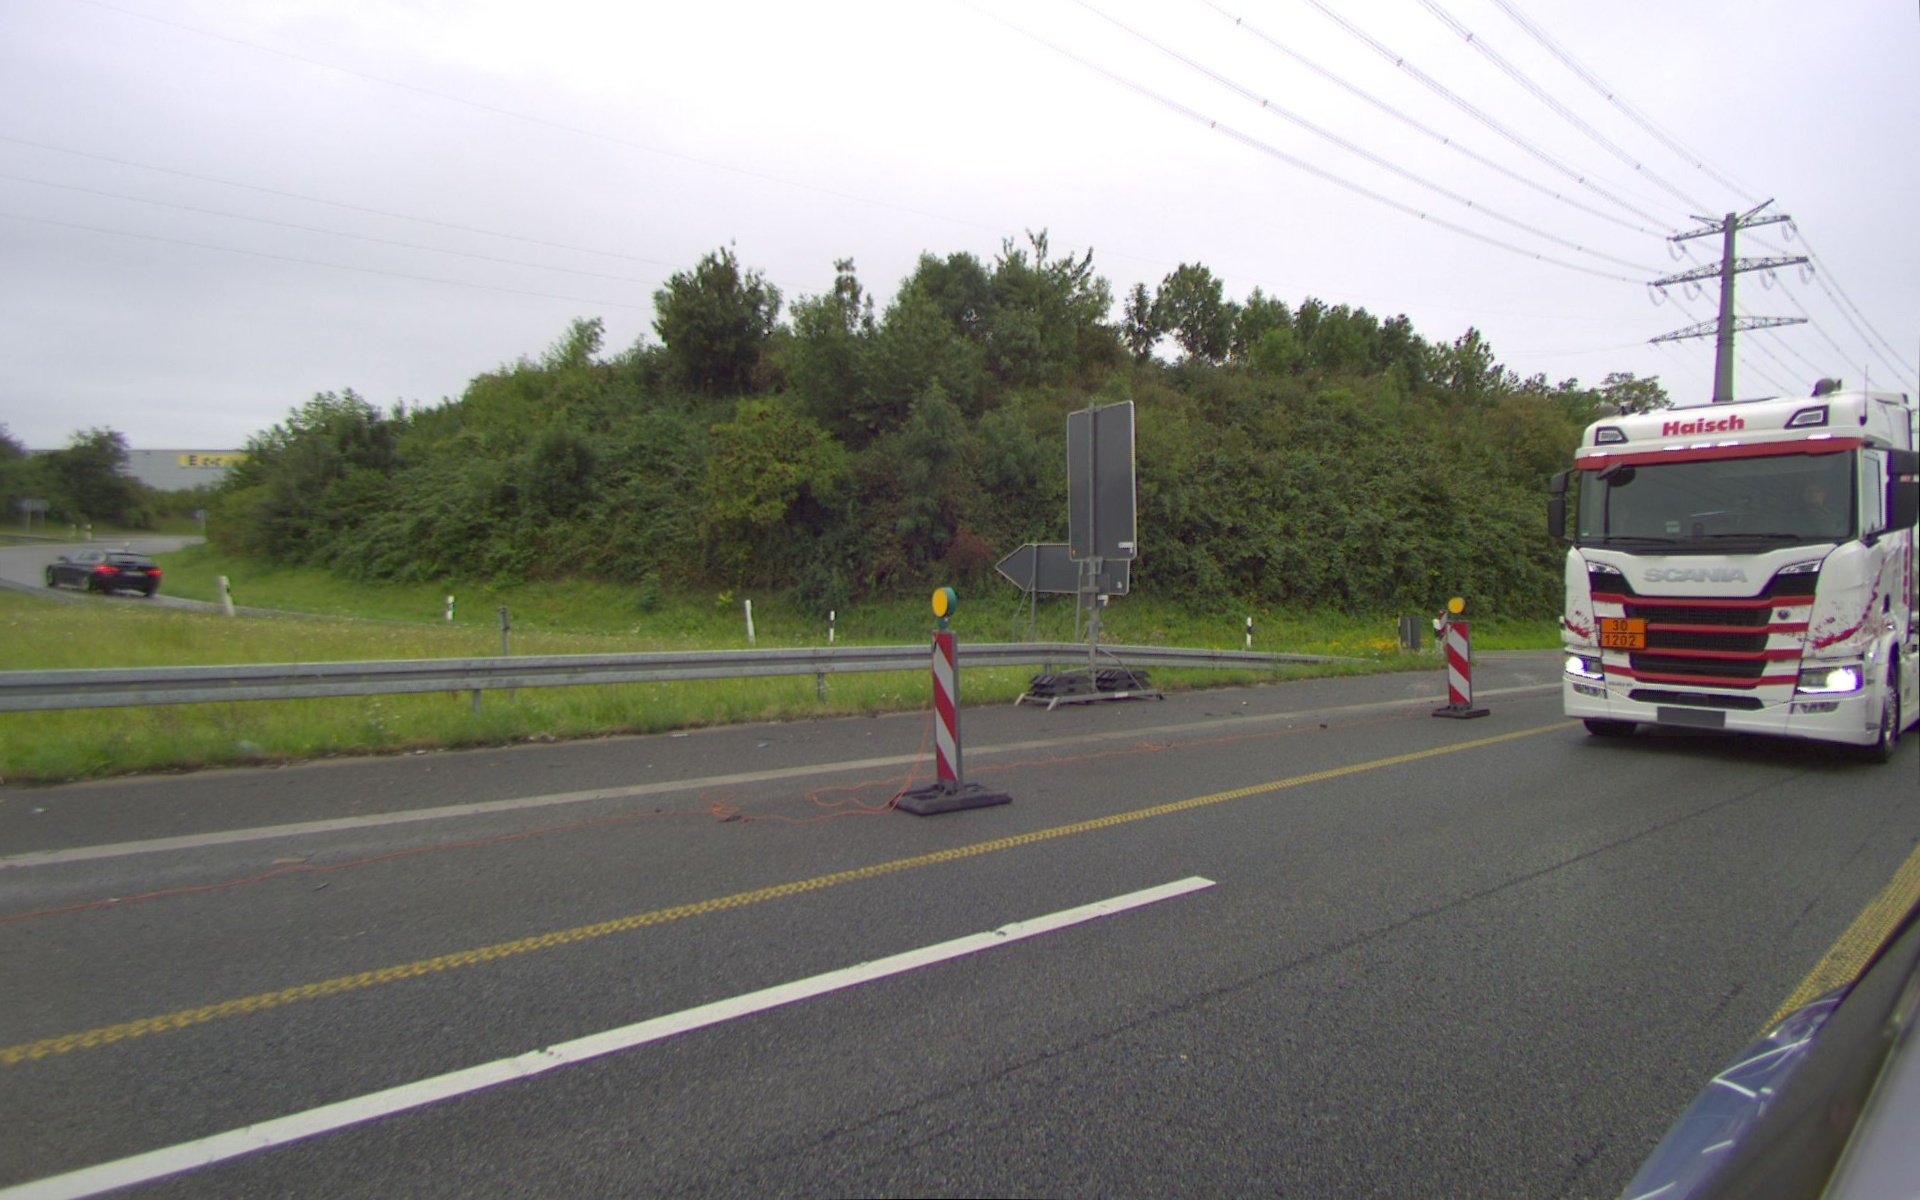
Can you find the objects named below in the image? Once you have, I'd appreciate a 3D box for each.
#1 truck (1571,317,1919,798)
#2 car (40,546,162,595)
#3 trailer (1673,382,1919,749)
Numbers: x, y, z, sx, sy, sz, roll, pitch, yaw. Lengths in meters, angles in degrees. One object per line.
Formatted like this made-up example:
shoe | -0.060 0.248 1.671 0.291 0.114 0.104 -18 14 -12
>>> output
truck | 8.542 -0.370 10.545 3.960 3.940 2.649 -1 0 -41
car | -28.576 -1.001 33.615 4.564 1.466 1.976 3 2 34
trailer | 13.624 -0.429 14.995 10.360 3.942 2.642 -1 0 -41
